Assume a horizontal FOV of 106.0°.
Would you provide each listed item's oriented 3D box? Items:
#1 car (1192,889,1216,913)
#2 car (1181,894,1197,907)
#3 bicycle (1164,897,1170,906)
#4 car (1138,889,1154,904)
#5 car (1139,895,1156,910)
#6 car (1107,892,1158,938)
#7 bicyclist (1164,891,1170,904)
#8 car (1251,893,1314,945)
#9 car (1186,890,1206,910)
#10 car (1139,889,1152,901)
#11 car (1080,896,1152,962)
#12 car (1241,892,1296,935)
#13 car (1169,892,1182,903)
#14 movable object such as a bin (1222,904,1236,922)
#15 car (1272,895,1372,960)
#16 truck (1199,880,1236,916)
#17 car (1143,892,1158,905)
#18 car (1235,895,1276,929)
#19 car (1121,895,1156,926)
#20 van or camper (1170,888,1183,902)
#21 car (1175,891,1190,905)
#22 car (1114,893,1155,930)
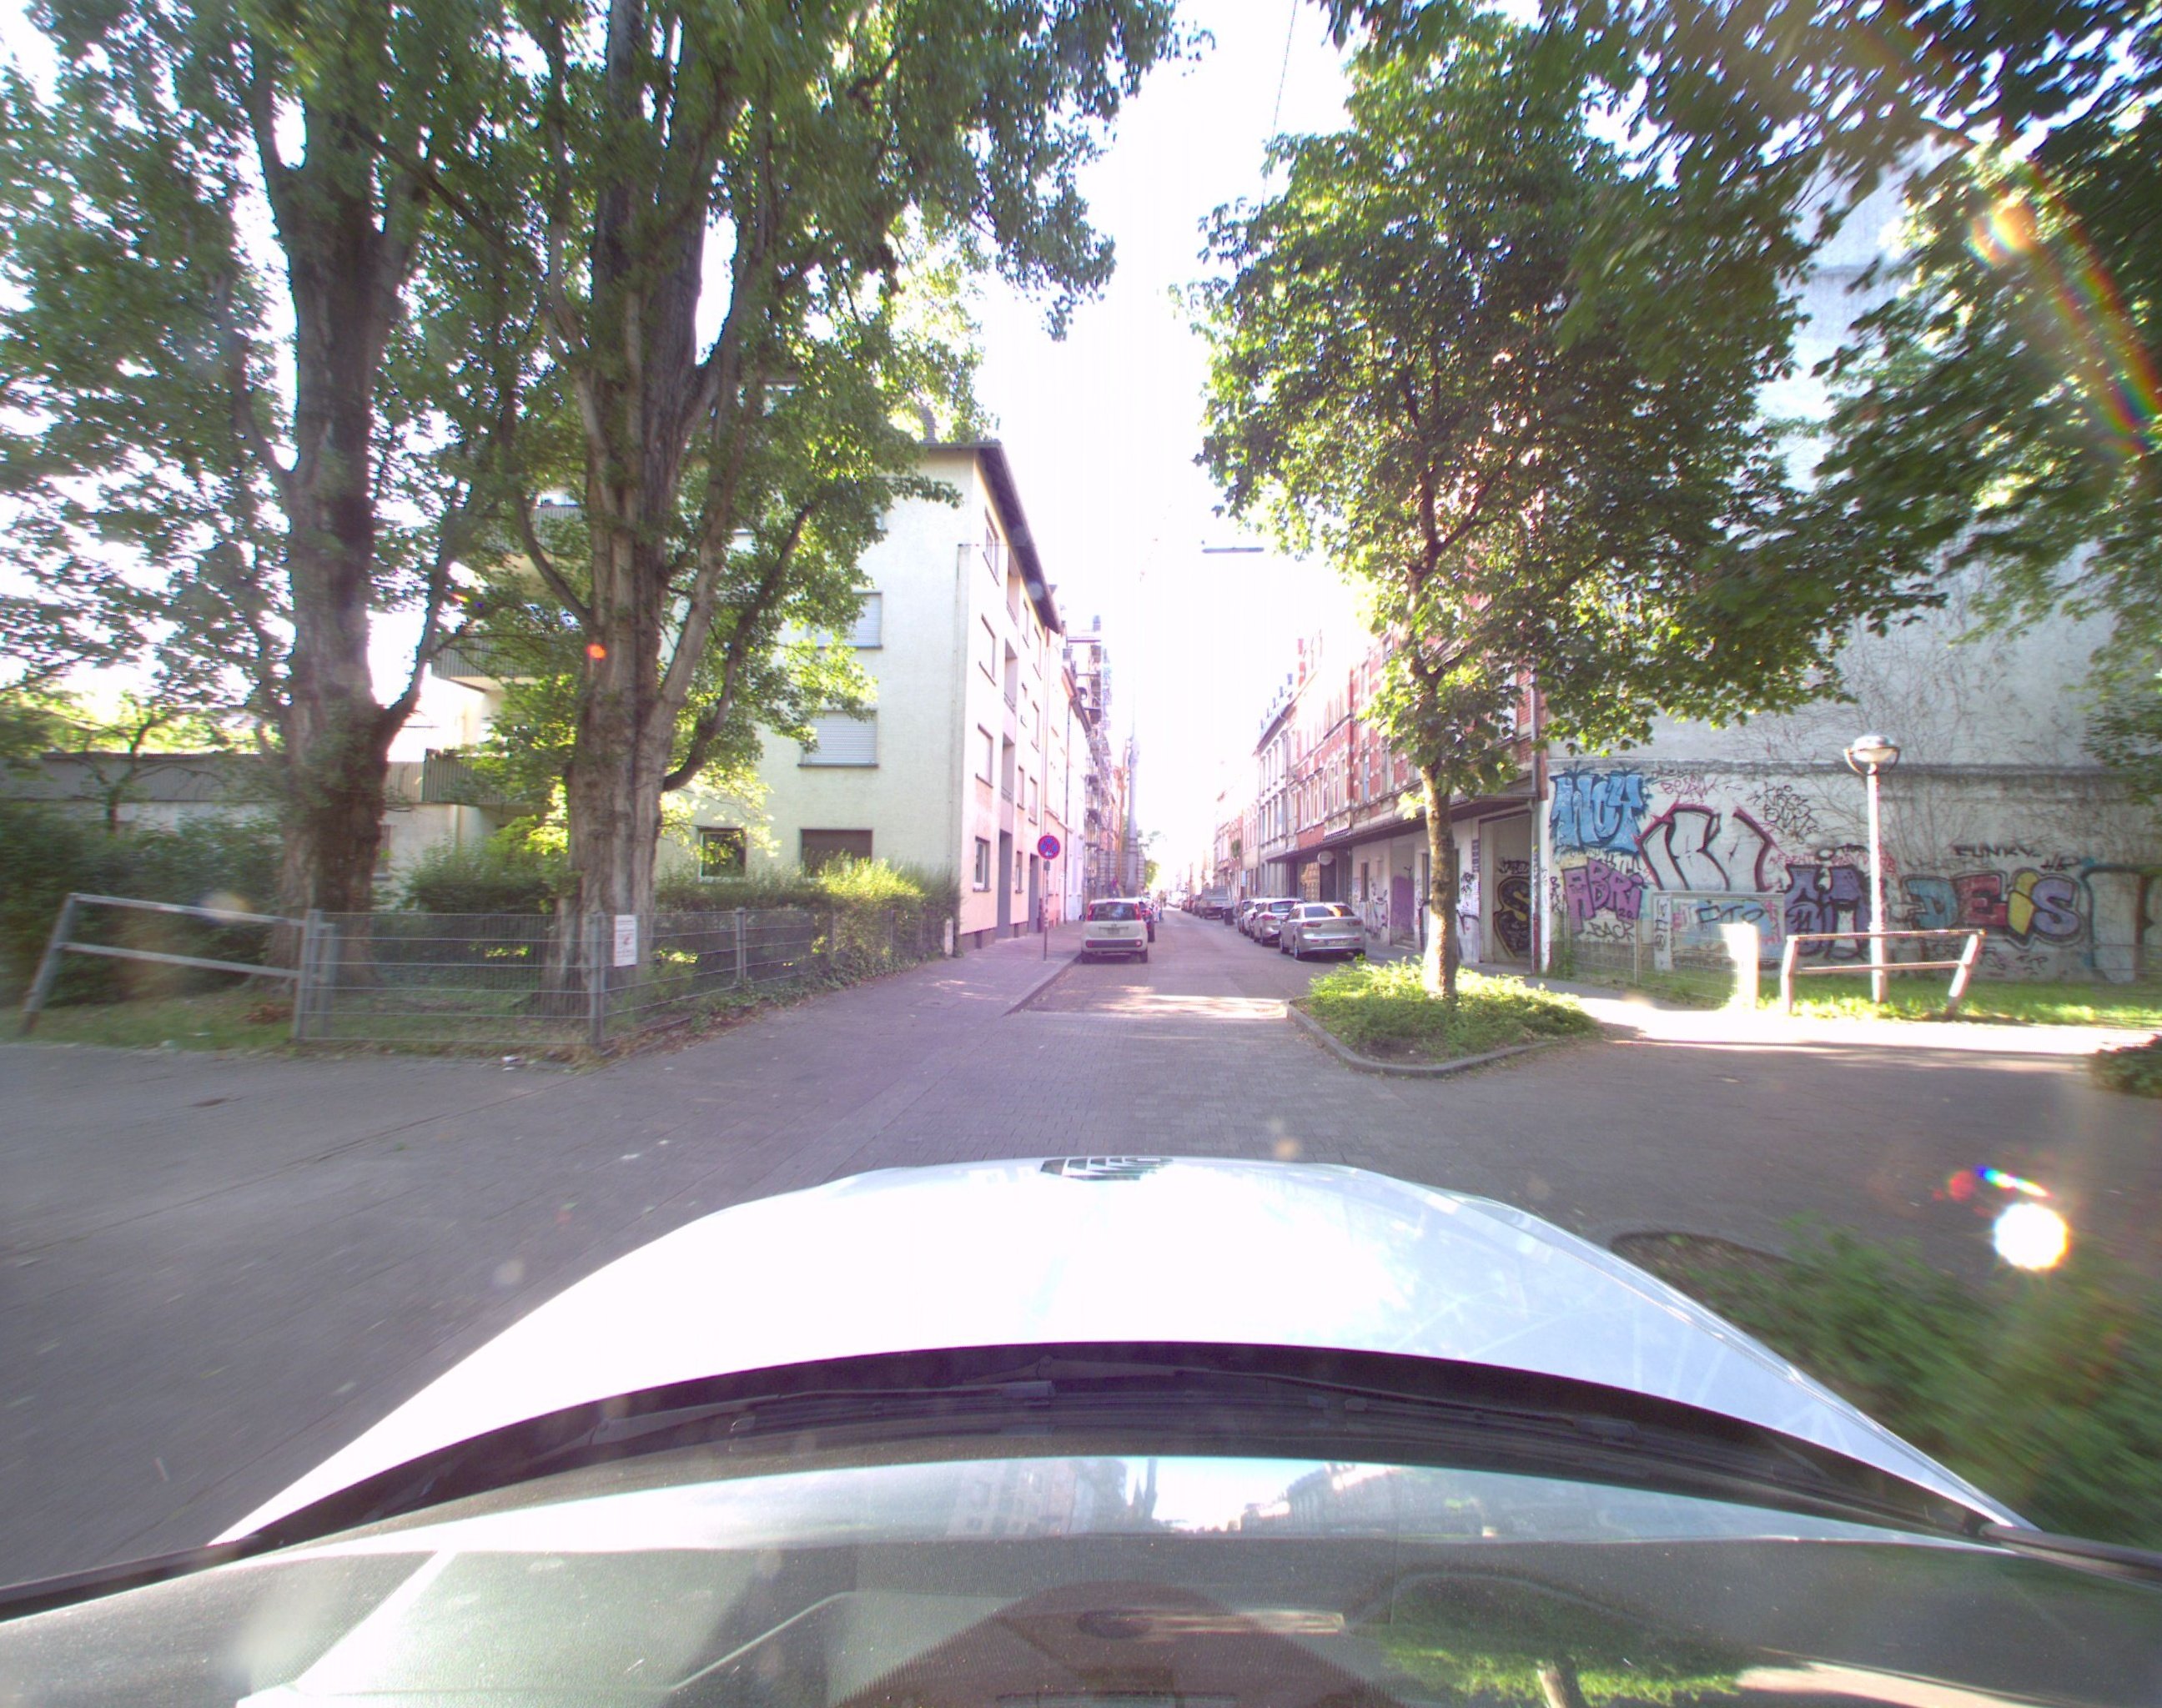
[{"bbox_3d":[10.774,4.126,71.713,1.668,1.963,4.111,0,-3,3],"label":"car"},{"bbox_3d":[12.905,5.575,97.422,1.668,1.571,3.871,0,-3,3],"label":"car"},{"bbox_3d":[12.227,6.710,115.993,0.721,1.186,2.045,2,-2,5],"label":"bicycle"},{"bbox_3d":[7.361,4.837,92.696,1.668,1.571,3.871,0,-3,3],"label":"car"},{"bbox_3d":[6.718,4.864,82.514,1.668,1.446,3.871,0,-3,3],"label":"car"},{"bbox_3d":[1.861,2.195,29.766,1.722,1.540,4.379,-1,-3,3],"label":"car"},{"bbox_3d":[12.228,6.230,115.911,0.727,1.762,0.836,1,-2,5],"label":"bicyclist"},{"bbox_3d":[6.973,2.234,28.467,1.632,1.656,3.874,1,-3,6],"label":"car"},{"bbox_3d":[11.893,4.770,84.155,1.668,2.032,3.871,0,-3,3],"label":"car"},{"bbox_3d":[9.990,6.458,126.937,1.985,1.849,4.003,0,-3,4],"label":"car"},{"bbox_3d":[0.920,1.849,20.981,1.668,1.540,3.871,0,-3,3],"label":"car"},{"bbox_3d":[7.754,2.450,34.058,1.738,1.676,4.346,0,-3,6],"label":"car"},{"bbox_3d":[15.874,7.328,136.355,1.985,1.849,4.003,0,-3,4],"label":"car"},{"bbox_3d":[8.902,3.535,48.919,0.791,1.056,0.661,1,-3,5],"label":"movable object such as a bin"},{"bbox_3d":[6.454,1.918,22.261,1.713,1.562,4.401,1,-3,4],"label":"car"},{"bbox_3d":[10.196,3.279,61.244,2.180,2.608,5.238,0,-3,4],"label":"truck"},{"bbox_3d":[8.284,5.358,97.818,1.668,1.571,3.871,0,-3,3],"label":"car"},{"bbox_3d":[8.359,2.758,39.267,1.588,1.561,3.820,0,-3,7],"label":"car"},{"bbox_3d":[2.955,2.847,41.374,1.667,1.477,4.612,0,-3,5],"label":"car"},{"bbox_3d":[17.704,7.644,150.458,1.986,2.509,4.201,0,-3,1],"label":"van or camper"},{"bbox_3d":[15.218,6.530,121.928,1.985,2.014,4.003,0,-3,4],"label":"car"},{"bbox_3d":[2.388,2.454,35.679,1.667,1.512,4.419,0,-3,5],"label":"car"}]
